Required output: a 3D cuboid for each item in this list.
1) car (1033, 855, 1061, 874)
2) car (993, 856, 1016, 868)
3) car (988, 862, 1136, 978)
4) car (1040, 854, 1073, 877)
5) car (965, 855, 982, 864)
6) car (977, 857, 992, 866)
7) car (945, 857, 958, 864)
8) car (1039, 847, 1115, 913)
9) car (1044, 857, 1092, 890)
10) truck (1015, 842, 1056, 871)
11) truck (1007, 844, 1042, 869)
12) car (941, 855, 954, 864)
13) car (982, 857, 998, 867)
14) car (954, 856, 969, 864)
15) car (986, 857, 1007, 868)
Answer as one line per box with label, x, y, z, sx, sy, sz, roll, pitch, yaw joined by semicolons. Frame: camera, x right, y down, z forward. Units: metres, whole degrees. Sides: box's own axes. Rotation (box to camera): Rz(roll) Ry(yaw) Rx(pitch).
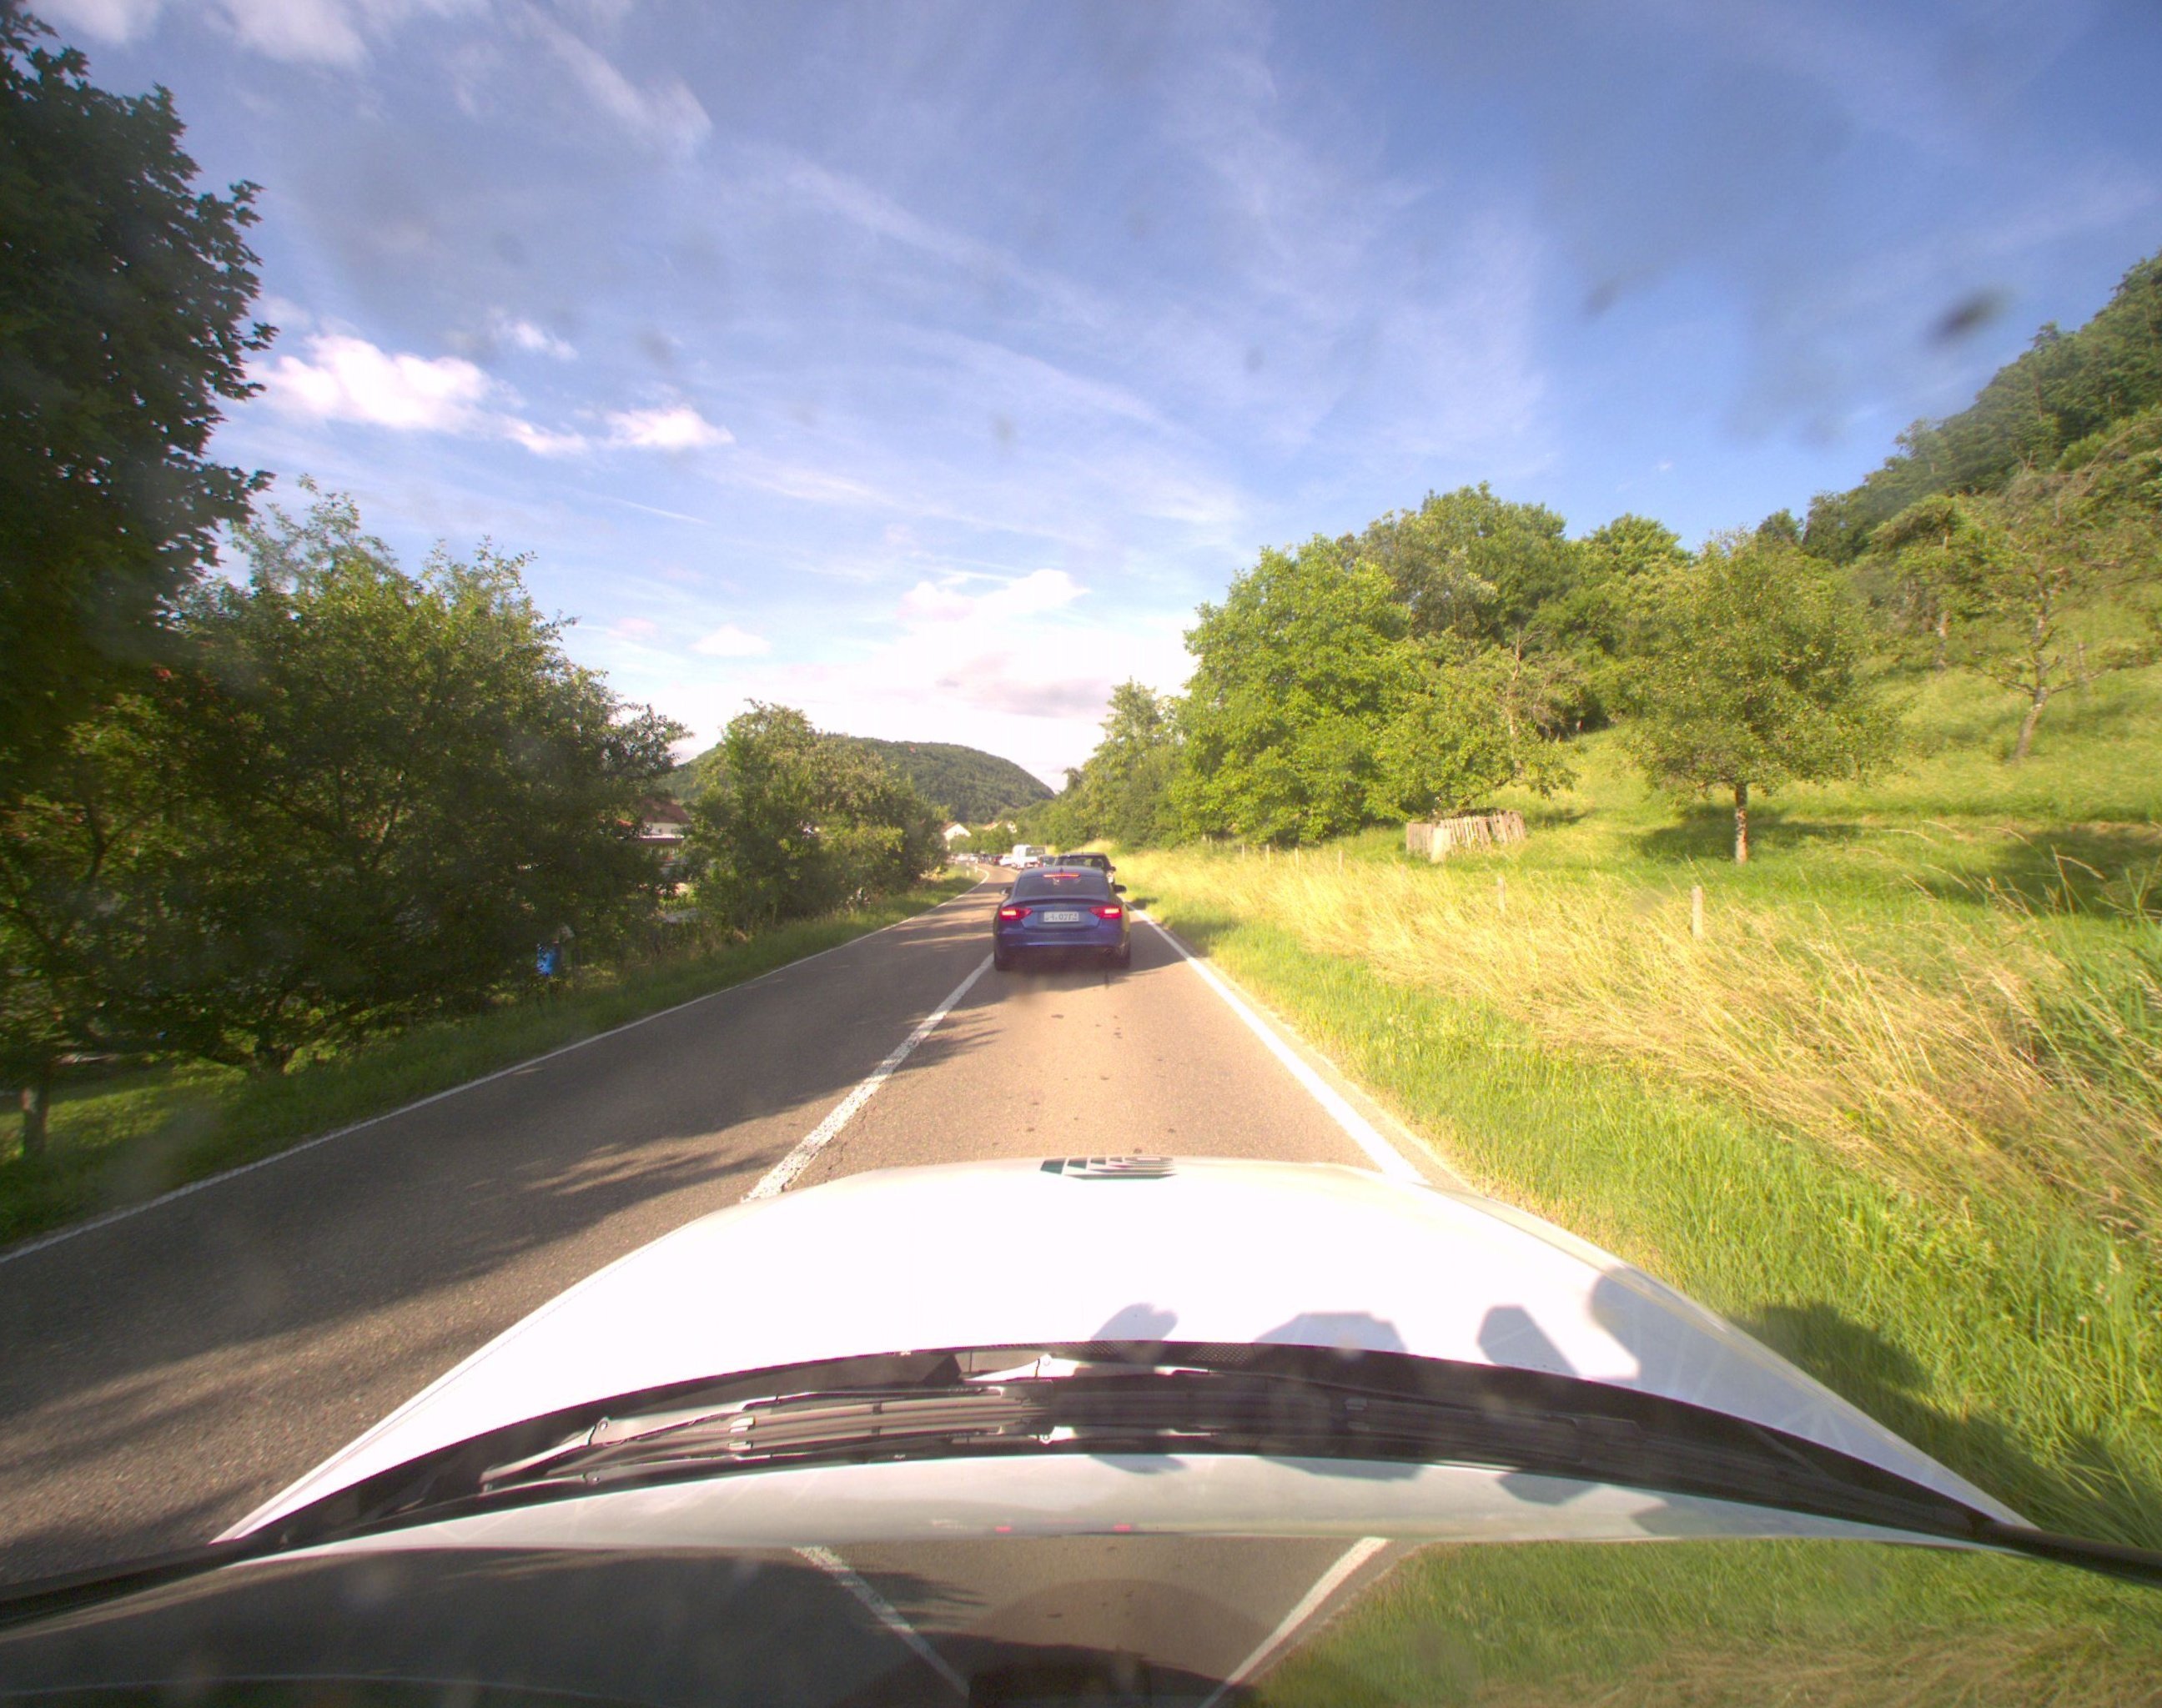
car;-2.803;0.819;66.538;1.991;1.482;3.991;0;-1;-7
car;-9.821;1.057;104.658;2.000;1.482;3.973;0;-1;-20
car;-0.175;0.833;12.005;1.787;1.360;4.001;-1;0;1
car;-1.648;0.750;54.039;1.990;1.482;3.994;0;-1;-4
car;-19.177;0.968;145.326;2.001;1.482;3.971;0;-1;-22
car;-15.812;1.239;133.305;1.997;1.482;3.978;0;-1;-16
car;-26.930;1.303;169.341;2.001;1.482;3.971;0;-1;-22
car;-0.077;0.693;23.267;1.987;1.702;4.000;-1;-1;0
car;-0.517;0.839;36.175;1.987;1.387;4.000;-1;-1;0
truck;-4.615;0.268;80.126;2.864;2.665;10.356;0;0;-10
truck;-6.486;0.320;91.988;2.864;2.665;10.607;0;0;-10
car;-29.087;1.181;177.396;2.001;2.014;3.972;0;-1;-21
car;-14.190;1.287;126.853;1.997;1.482;3.978;0;-1;-16
car;-23.149;1.129;157.884;2.001;1.482;3.971;0;-1;-22
car;-11.618;1.144;111.880;2.000;1.482;3.973;0;-1;-20
